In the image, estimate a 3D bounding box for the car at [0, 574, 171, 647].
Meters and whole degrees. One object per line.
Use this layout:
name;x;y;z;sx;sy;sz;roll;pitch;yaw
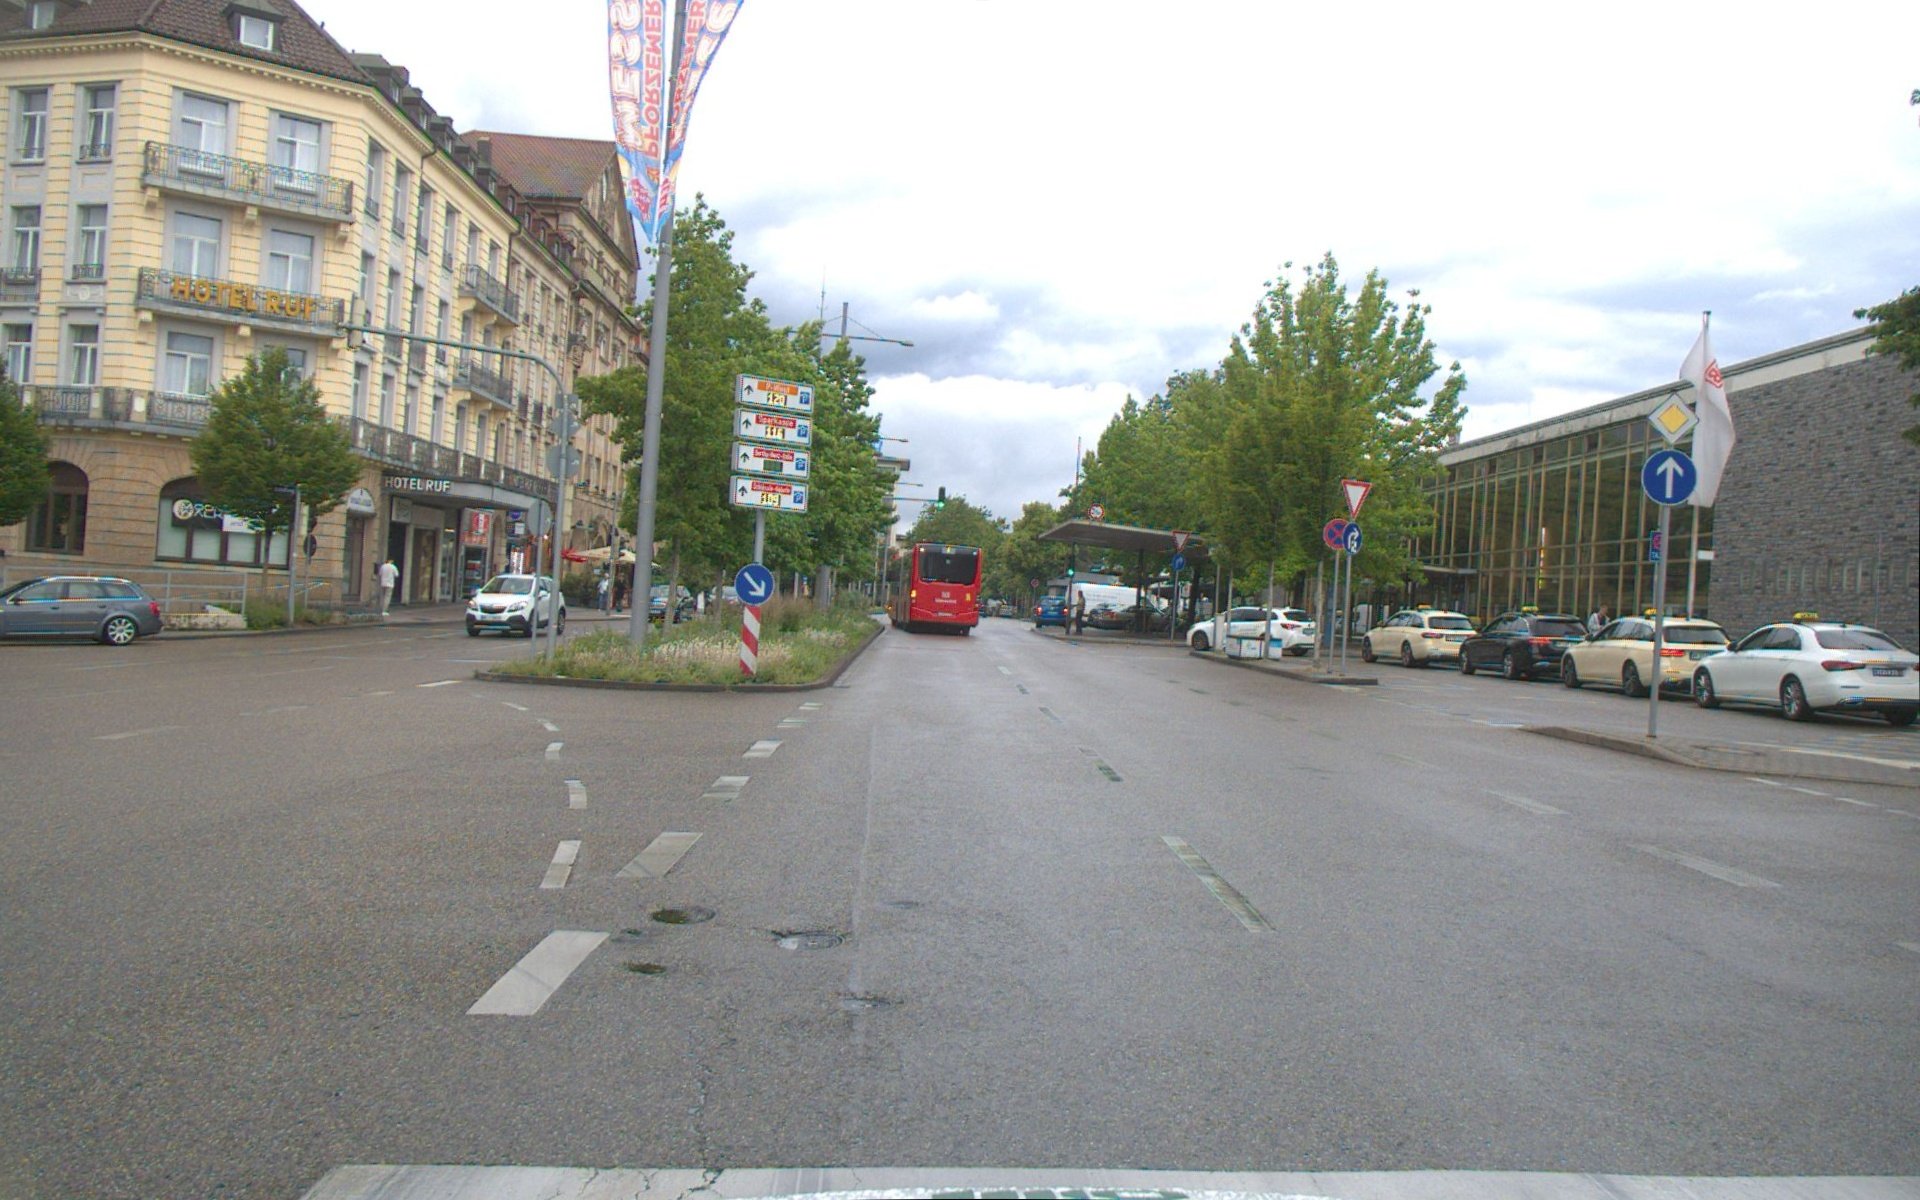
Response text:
car;-19.294;0.225;34.995;4.415;1.491;1.674;1;0;-43

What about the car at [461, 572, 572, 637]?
car;-12.060;0.129;45.231;1.916;1.646;4.207;1;0;-1

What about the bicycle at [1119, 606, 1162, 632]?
bicycle;7.820;0.825;71.642;1.800;1.074;0.418;1;-1;-19

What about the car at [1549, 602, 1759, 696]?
car;13.342;0.881;32.175;1.953;1.627;4.958;1;0;-1

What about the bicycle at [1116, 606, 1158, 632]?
bicycle;7.704;0.825;72.088;1.800;1.074;0.418;1;-1;-19

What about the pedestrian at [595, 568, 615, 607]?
pedestrian;-15.781;-0.555;73.605;0.667;1.693;0.807;1;-1;2

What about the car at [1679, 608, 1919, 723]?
car;13.435;0.962;26.278;1.841;1.627;4.902;1;0;-1

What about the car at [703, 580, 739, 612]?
car;-11.834;-0.197;82.060;1.645;1.539;3.858;1;0;-7

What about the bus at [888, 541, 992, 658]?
bus;-0.931;0.006;63.520;3.474;4.049;11.164;1;0;-3

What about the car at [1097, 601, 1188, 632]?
car;9.088;0.823;82.453;4.125;1.348;1.829;3;-1;-21

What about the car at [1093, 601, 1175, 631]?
car;9.058;0.835;86.119;3.947;1.383;1.845;3;-1;-32

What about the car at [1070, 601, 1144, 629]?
car;8.592;0.872;96.856;3.940;1.468;1.848;3;-1;-28

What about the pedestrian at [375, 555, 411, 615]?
pedestrian;-17.832;-0.467;52.021;0.861;1.844;0.750;1;-1;-1

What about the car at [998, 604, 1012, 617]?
car;5.873;1.393;216.323;1.611;1.690;3.649;1;0;-1

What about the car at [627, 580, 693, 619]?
car;-11.653;-0.003;64.461;1.916;1.447;3.999;1;0;-2

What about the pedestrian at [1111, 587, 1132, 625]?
pedestrian;7.946;0.303;81.263;0.839;1.867;1.189;2;-1;-1

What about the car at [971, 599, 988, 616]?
car;1.926;0.709;161.680;1.562;1.588;3.649;1;0;-1

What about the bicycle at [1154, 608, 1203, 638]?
bicycle;8.325;0.877;63.116;1.790;1.074;0.420;1;-1;-1

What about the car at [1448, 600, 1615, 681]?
car;13.094;0.873;38.255;1.953;1.627;4.956;3;0;-2

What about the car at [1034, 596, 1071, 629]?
car;4.771;0.656;85.493;1.820;1.596;4.001;2;-1;3

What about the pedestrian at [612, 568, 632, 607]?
pedestrian;-15.049;-0.552;73.653;0.667;1.693;0.807;1;-1;-1

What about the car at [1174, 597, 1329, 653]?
car;9.012;0.759;51.424;1.747;1.573;4.708;2;-1;-40

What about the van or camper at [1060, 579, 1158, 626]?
van or camper;9.293;0.174;102.925;5.878;2.811;2.178;1;0;-28

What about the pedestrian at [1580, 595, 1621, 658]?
pedestrian;16.776;0.686;43.314;0.753;1.607;0.710;1;-1;-5

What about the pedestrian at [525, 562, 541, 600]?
pedestrian;-19.213;-0.847;74.428;0.654;1.693;0.535;1;-1;-9

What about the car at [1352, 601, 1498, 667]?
car;12.518;0.884;44.884;1.956;1.627;4.949;1;0;-8

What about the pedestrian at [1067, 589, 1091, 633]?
pedestrian;4.820;0.447;66.946;0.732;1.777;0.834;2;-1;-9
